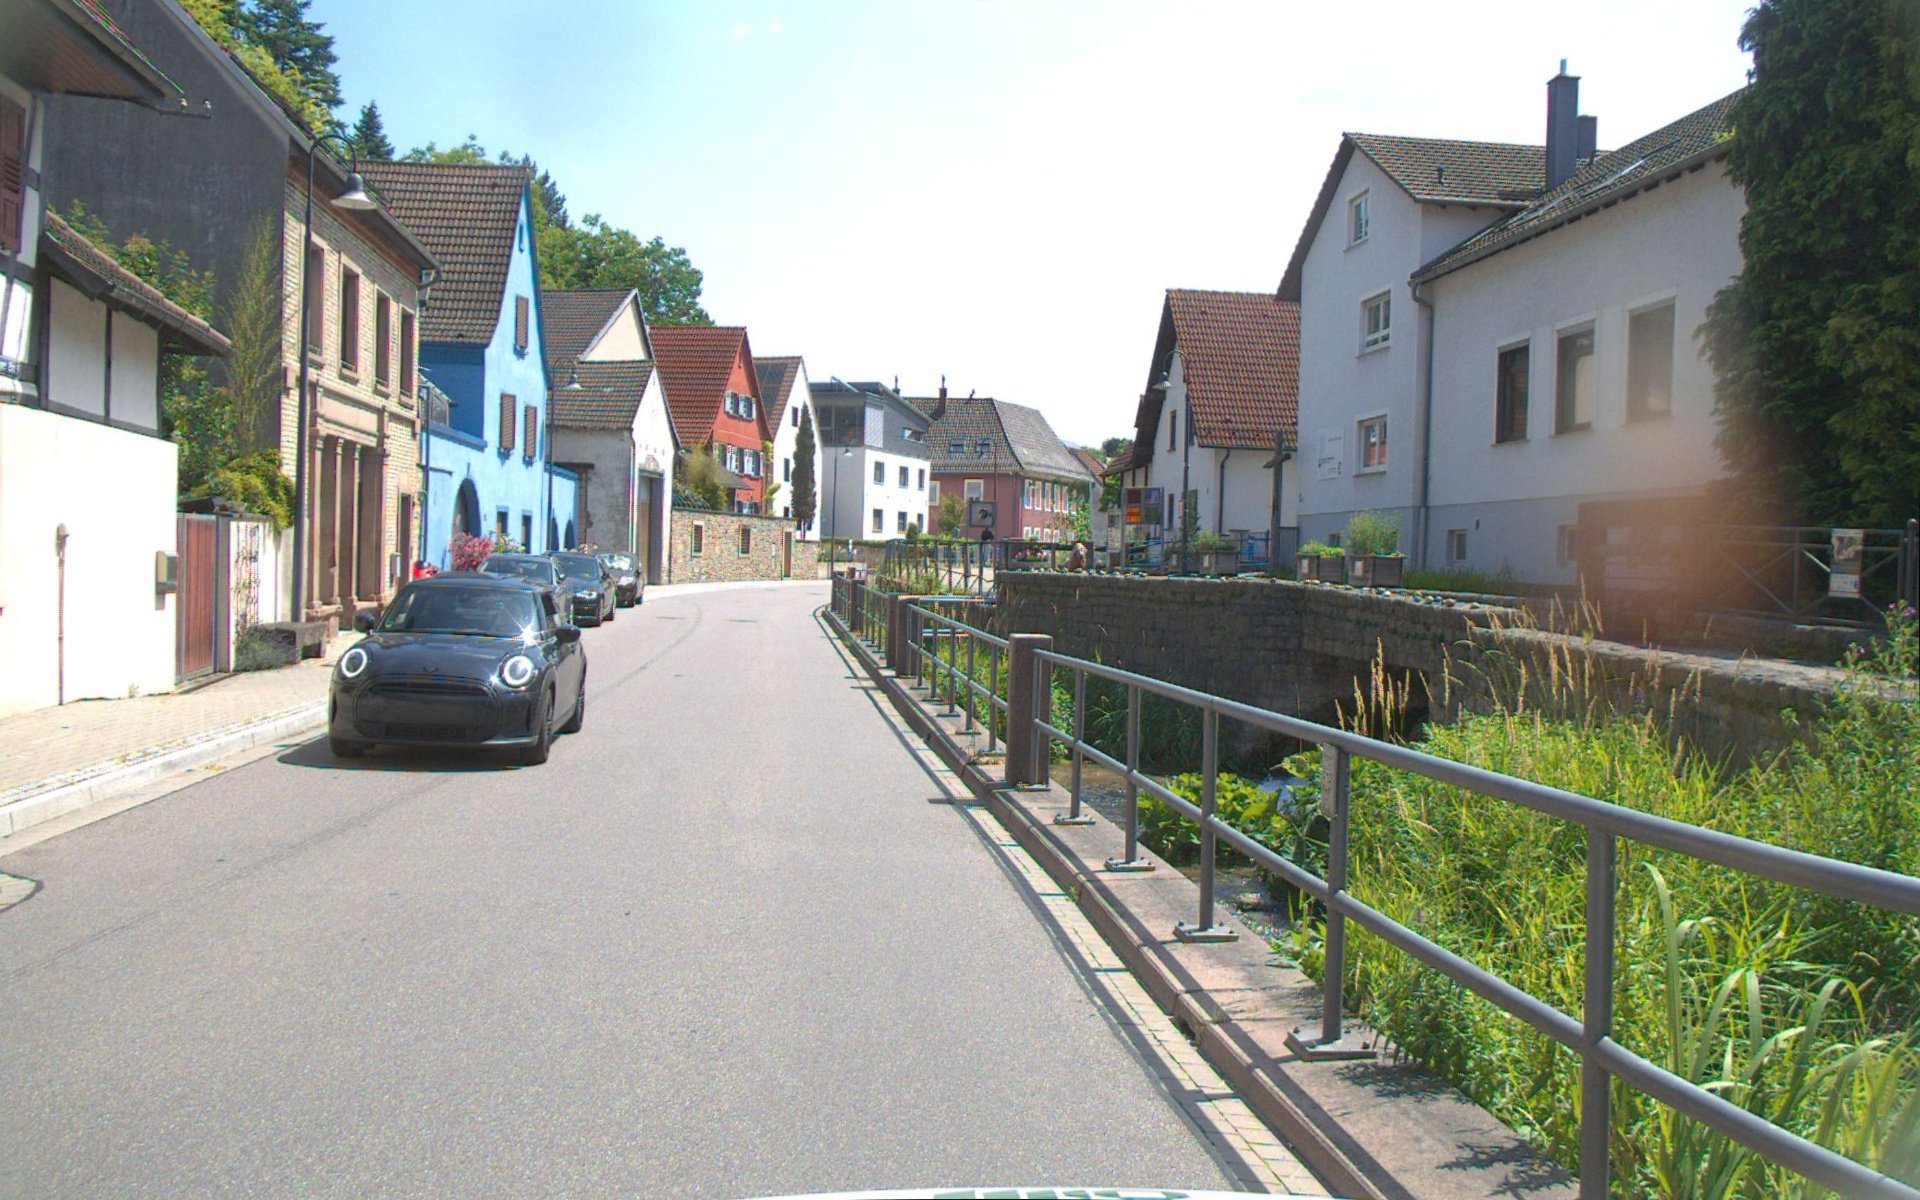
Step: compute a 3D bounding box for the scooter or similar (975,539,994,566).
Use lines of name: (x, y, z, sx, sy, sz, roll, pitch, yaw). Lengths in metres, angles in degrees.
scooter or similar: (1.069, -2.095, 72.802, 0.629, 1.162, 1.809, 0, 1, -6)

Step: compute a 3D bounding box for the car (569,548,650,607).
car: (-9.766, -0.642, 46.287, 1.683, 1.556, 3.853, 1, 1, -4)

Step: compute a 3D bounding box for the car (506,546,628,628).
car: (-8.471, -0.333, 36.047, 1.849, 1.489, 4.664, 5, 2, -6)

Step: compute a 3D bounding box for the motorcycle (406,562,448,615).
motorcycle: (-10.944, -0.248, 33.998, 0.410, 1.018, 1.855, 6, 0, -8)

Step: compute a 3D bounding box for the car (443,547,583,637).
car: (-8.284, -0.177, 31.039, 1.920, 1.491, 4.538, 2, 1, -8)

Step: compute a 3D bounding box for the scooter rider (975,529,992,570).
scooter rider: (1.047, -2.238, 72.901, 0.629, 1.762, 0.553, 2, 1, -7)

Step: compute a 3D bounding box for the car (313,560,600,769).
car: (-4.225, 0.461, 14.540, 1.667, 1.491, 4.427, 3, 0, -8)
